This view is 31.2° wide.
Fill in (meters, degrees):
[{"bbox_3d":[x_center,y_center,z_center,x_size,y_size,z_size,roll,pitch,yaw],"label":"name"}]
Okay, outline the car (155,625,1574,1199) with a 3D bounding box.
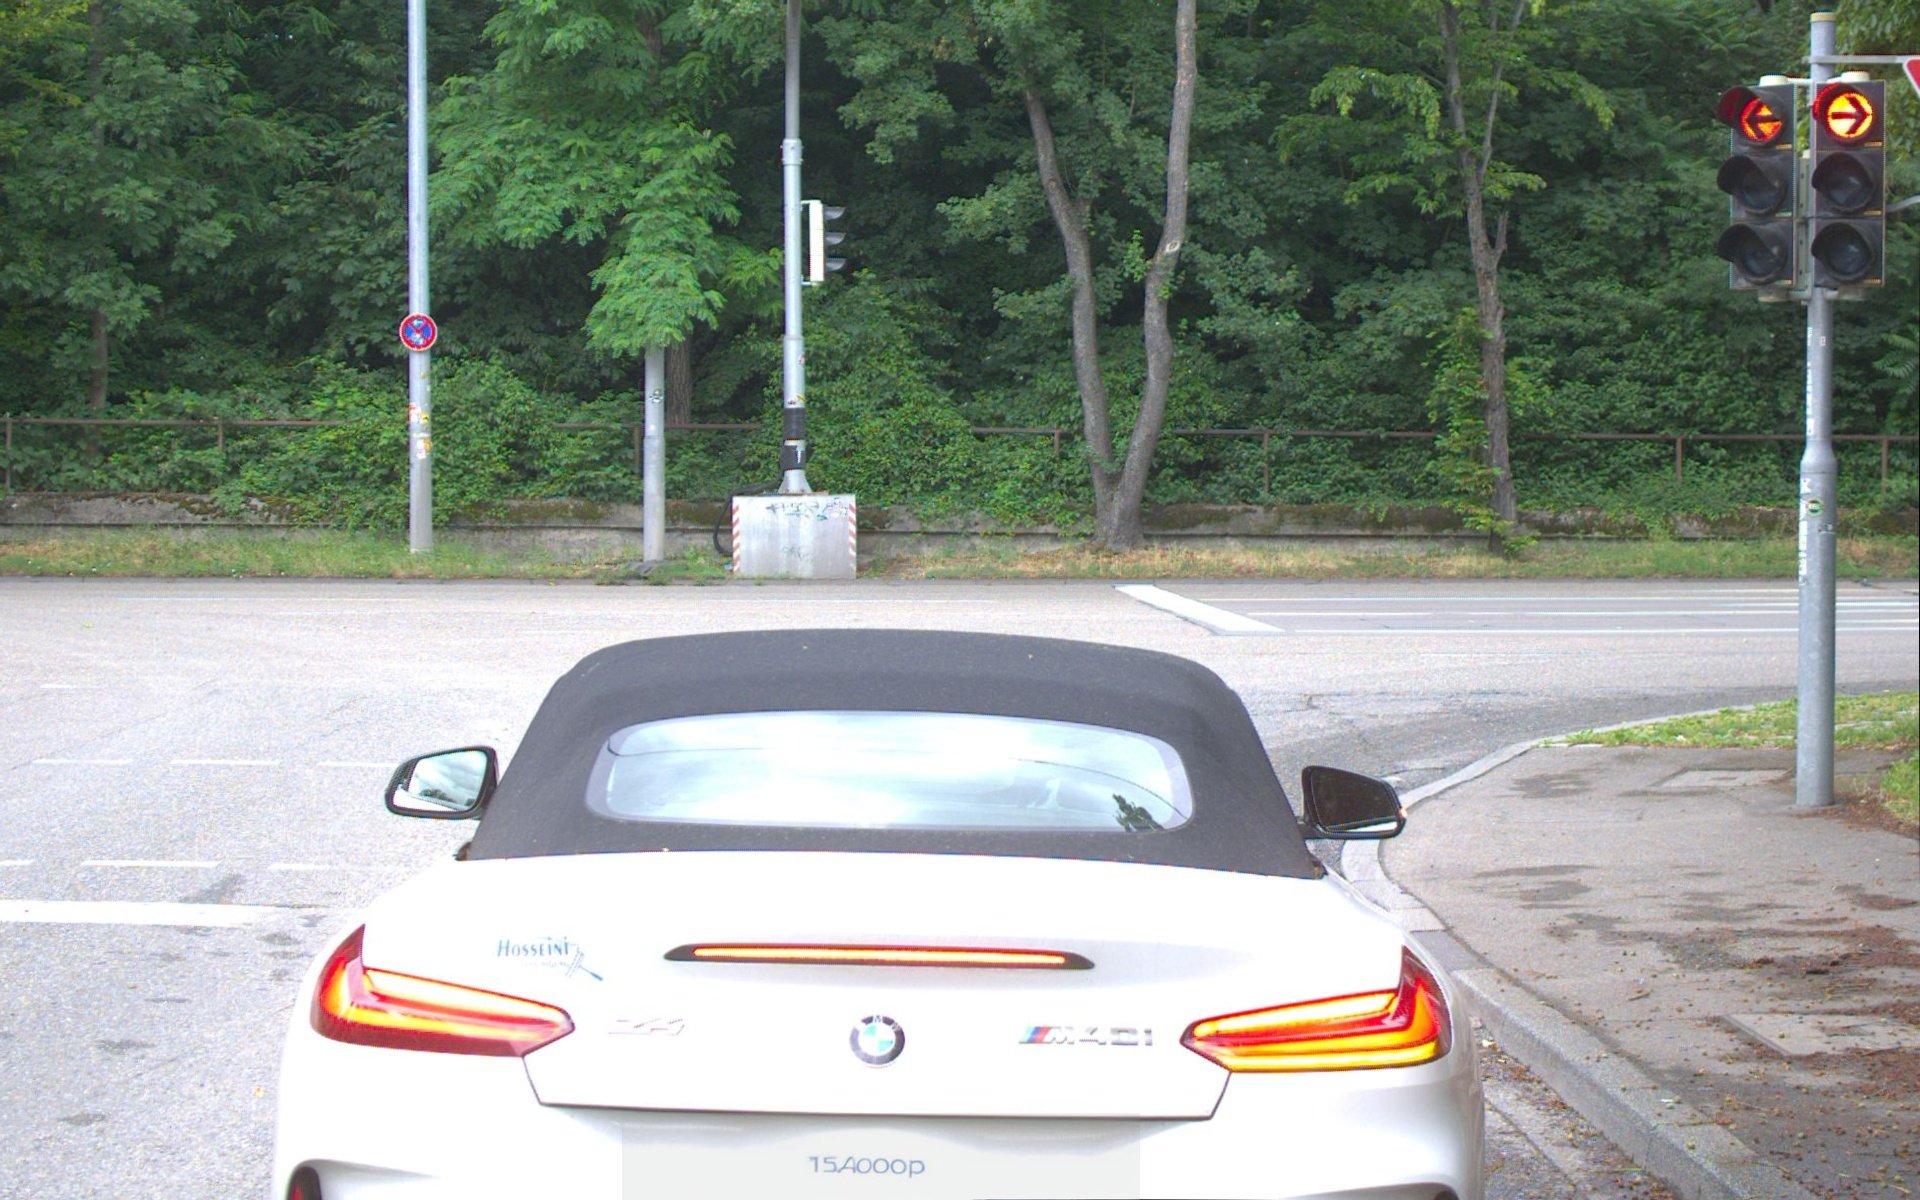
[{"bbox_3d":[-0.216,0.703,6.468,1.827,1.253,4.000,2,0,-3],"label":"car"}]
